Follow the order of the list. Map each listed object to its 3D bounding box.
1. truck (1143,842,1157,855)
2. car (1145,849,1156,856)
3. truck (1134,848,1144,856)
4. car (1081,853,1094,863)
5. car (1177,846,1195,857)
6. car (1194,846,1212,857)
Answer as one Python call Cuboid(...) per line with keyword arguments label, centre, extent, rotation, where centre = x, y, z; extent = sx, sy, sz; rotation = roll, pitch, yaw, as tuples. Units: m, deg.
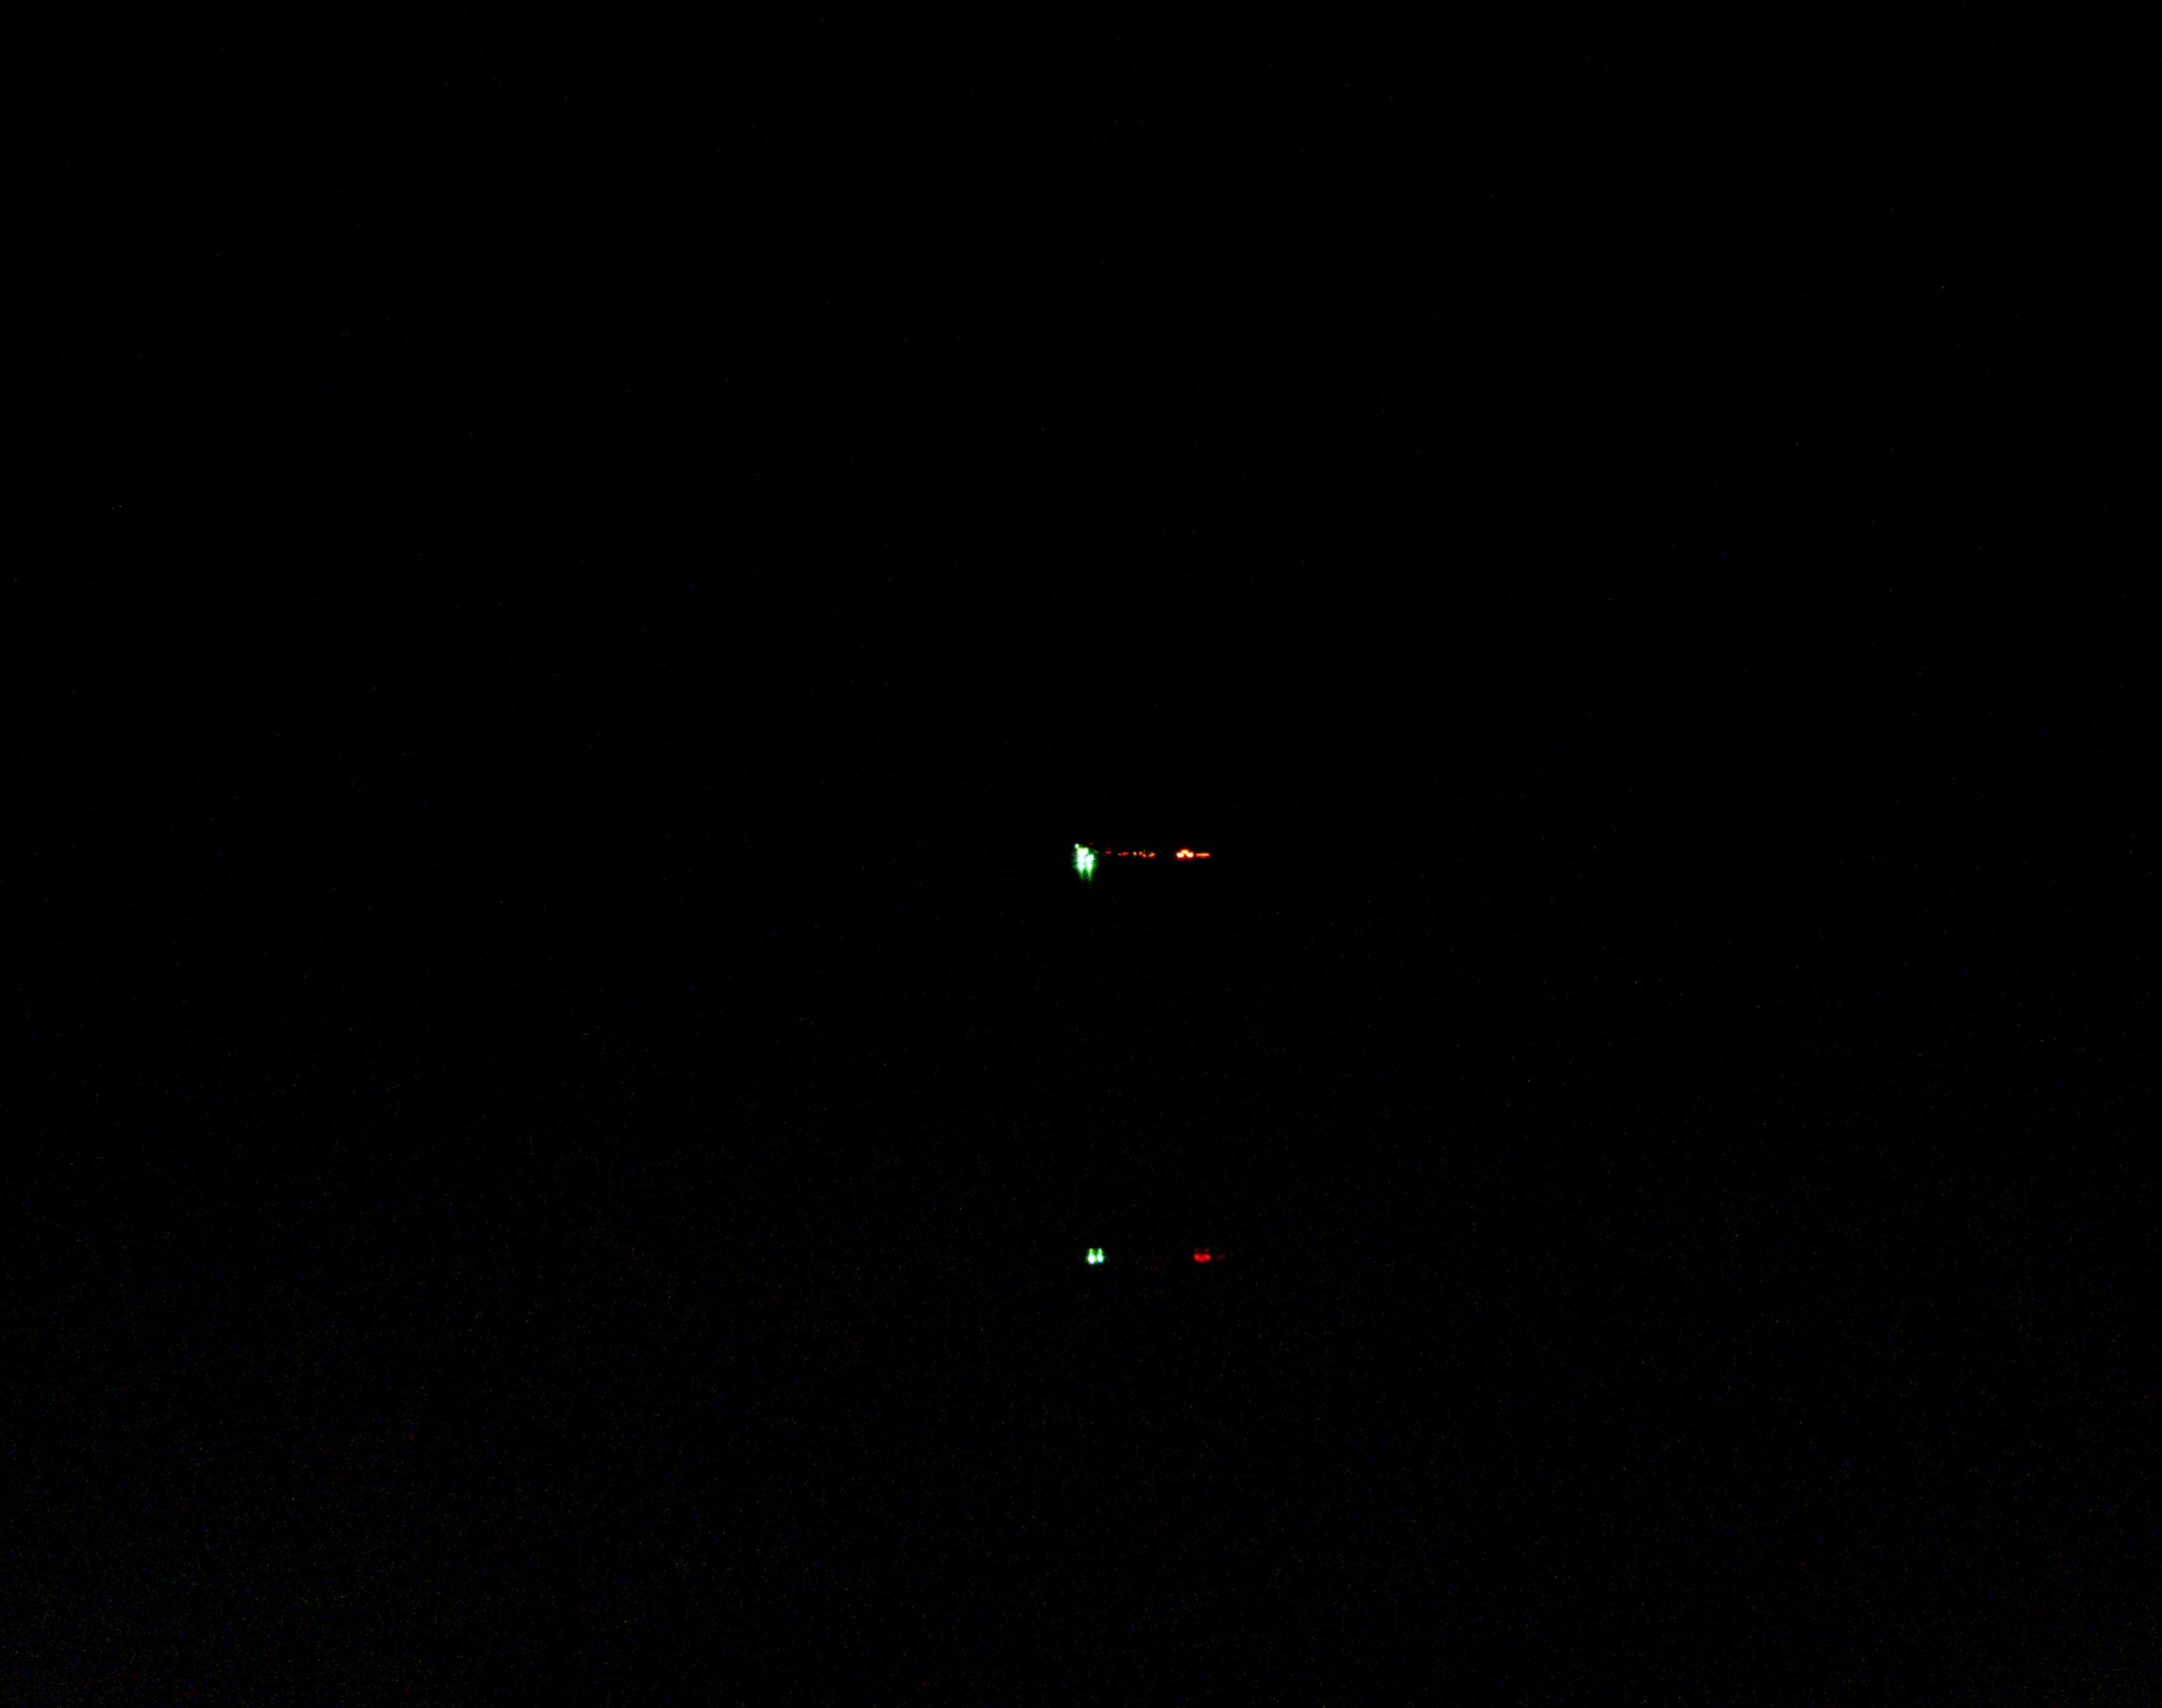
Cuboid(label="truck", centre=(23.866, -1.851, 264.096), extent=(3.606, 4.288, 11.196), rotation=(-2, 1, 0))
Cuboid(label="car", centre=(16.871, -0.356, 183.942), extent=(2.154, 1.558, 3.999), rotation=(-2, 1, 0))
Cuboid(label="truck", centre=(19.409, -0.690, 255.608), extent=(2.756, 2.492, 7.311), rotation=(-2, 1, 0))
Cuboid(label="car", centre=(1.082, 0.652, 128.793), extent=(2.154, 1.558, 4.581), rotation=(-2, 1, 0))
Cuboid(label="car", centre=(16.192, -0.388, 117.102), extent=(1.999, 1.587, 3.999), rotation=(-2, 1, -1))
Cuboid(label="car", centre=(19.407, -0.371, 120.754), extent=(2.154, 1.558, 3.999), rotation=(-2, 1, 0))
